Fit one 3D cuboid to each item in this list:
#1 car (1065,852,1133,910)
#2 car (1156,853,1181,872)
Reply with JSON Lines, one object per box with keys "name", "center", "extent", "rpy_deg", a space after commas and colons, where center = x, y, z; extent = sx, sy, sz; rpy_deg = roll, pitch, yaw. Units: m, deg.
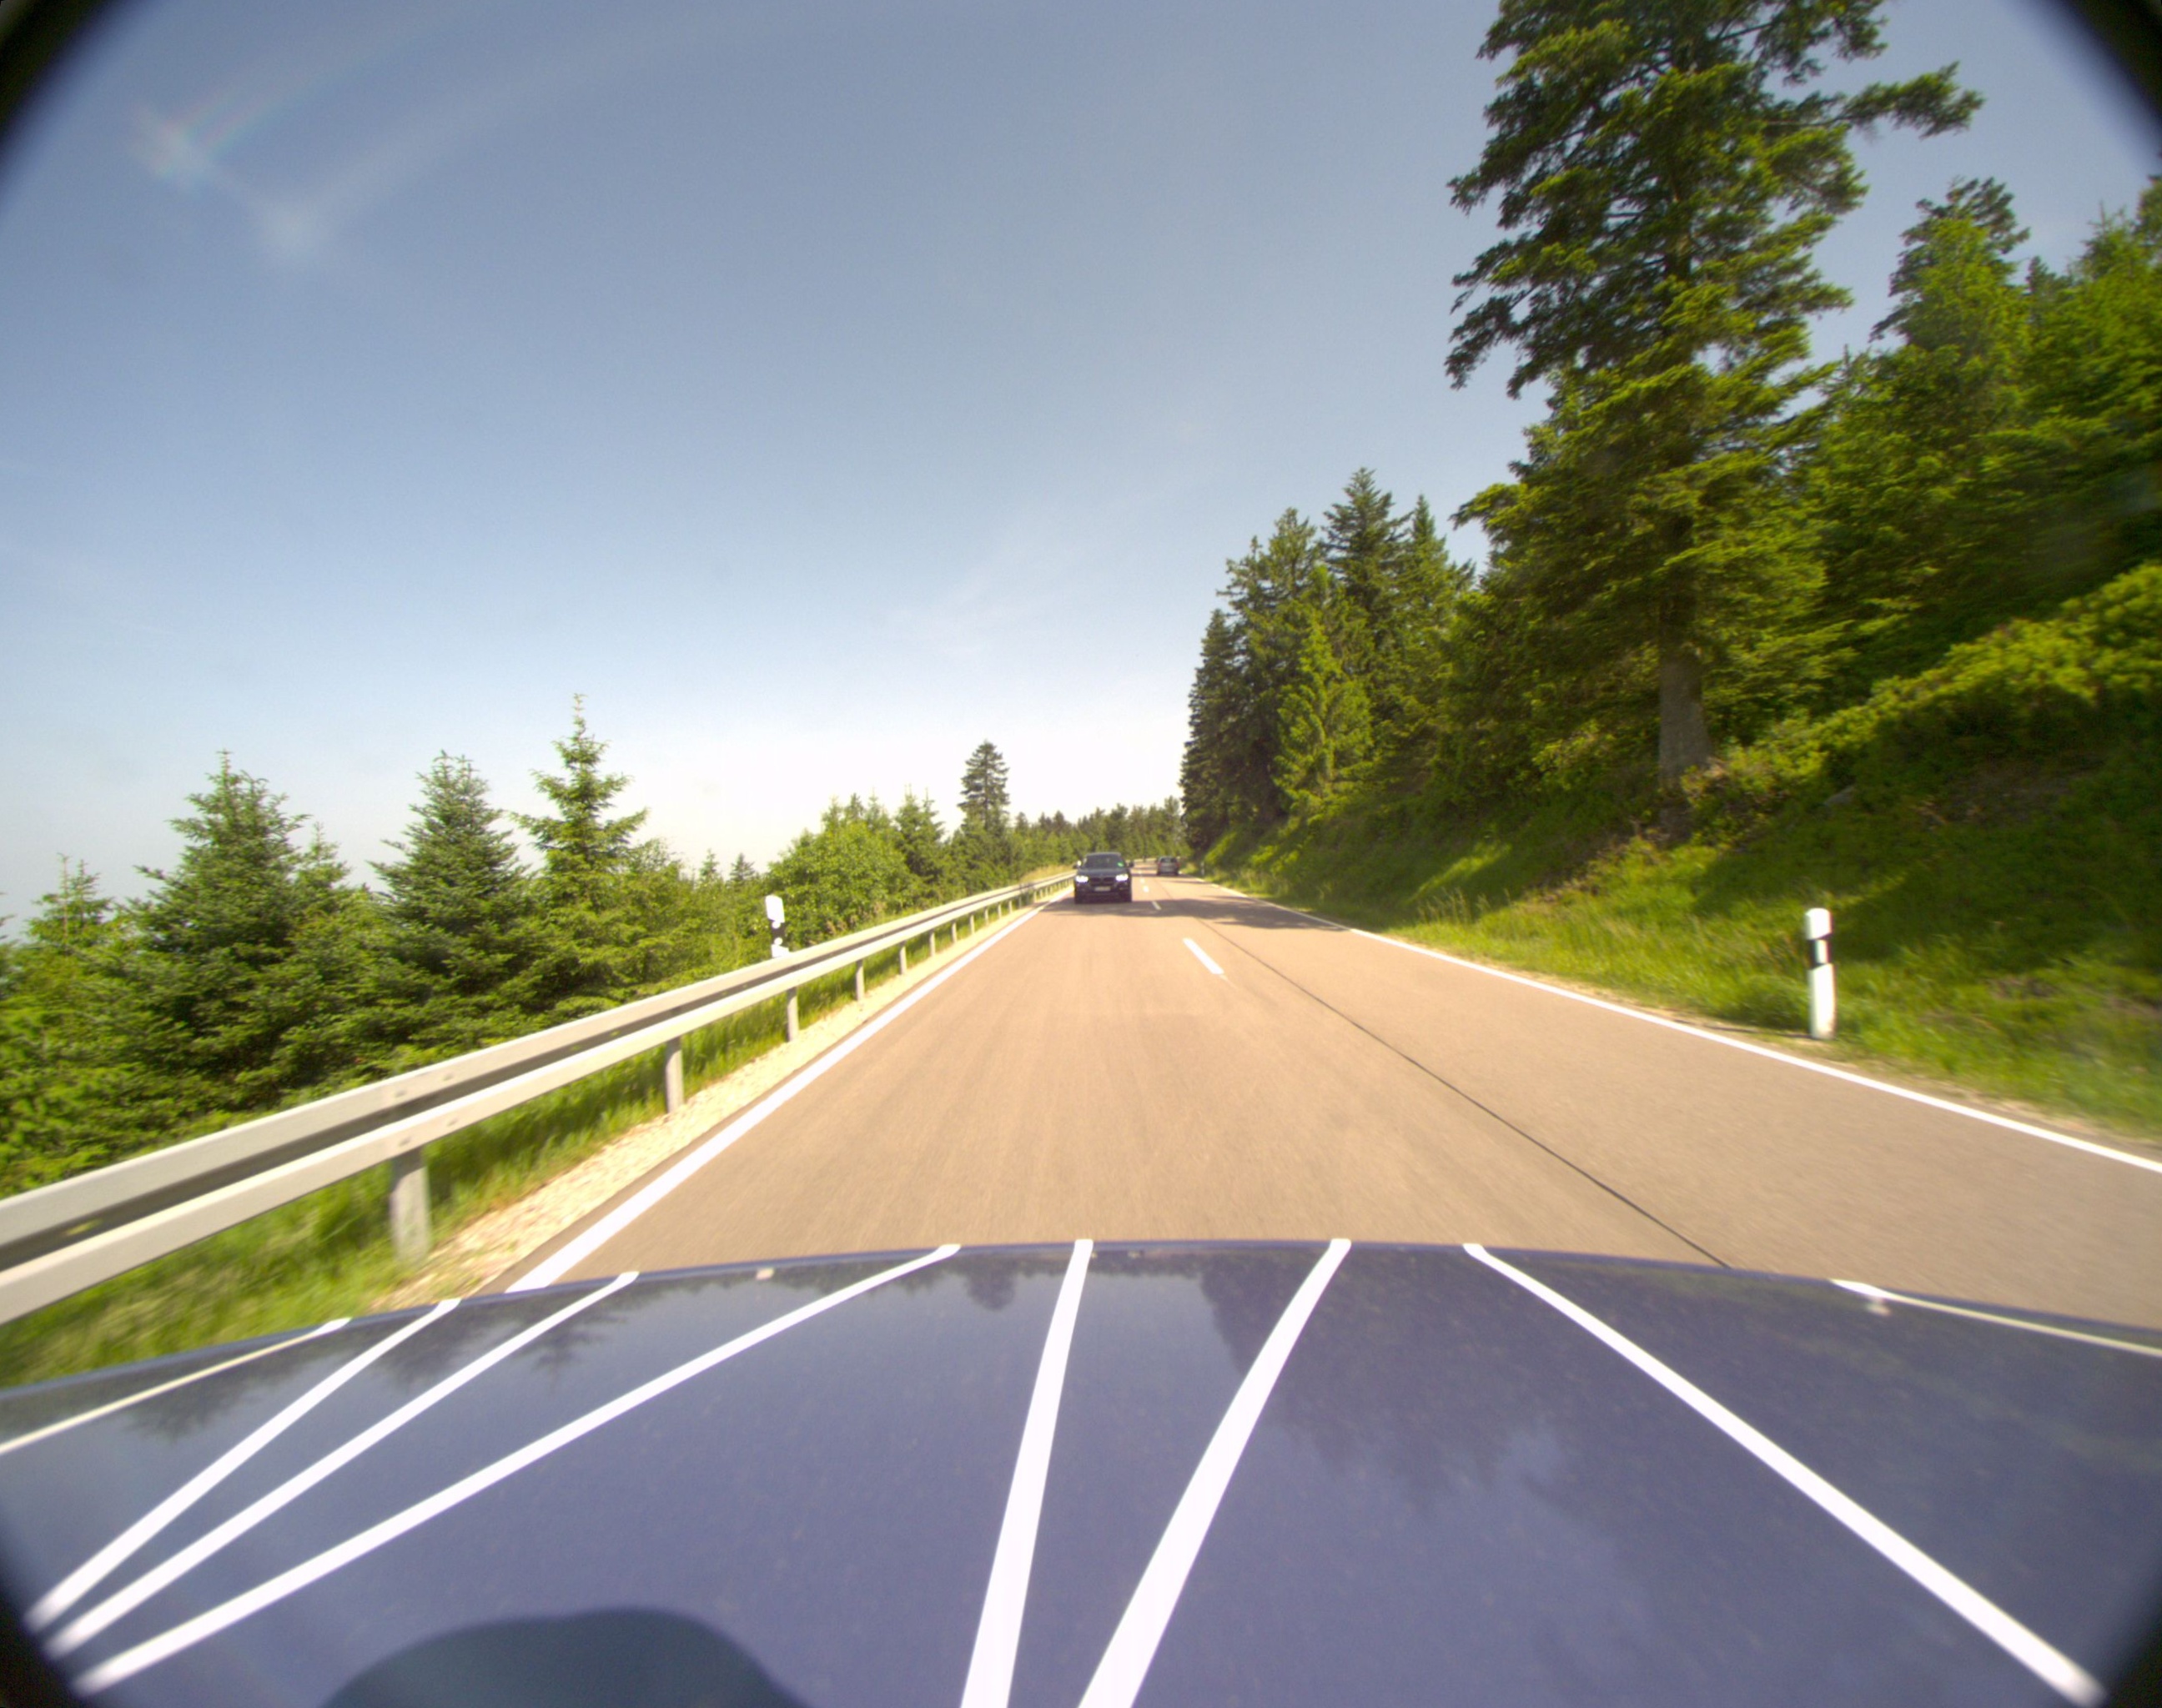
{"name": "car", "center": [0.702, 0.809, 25.649], "extent": [1.998, 1.676, 5.937], "rpy_deg": [-2, 0, 3]}
{"name": "car", "center": [6.638, 0.631, 58.019], "extent": [1.688, 1.406, 3.263], "rpy_deg": [0, 0, 3]}
